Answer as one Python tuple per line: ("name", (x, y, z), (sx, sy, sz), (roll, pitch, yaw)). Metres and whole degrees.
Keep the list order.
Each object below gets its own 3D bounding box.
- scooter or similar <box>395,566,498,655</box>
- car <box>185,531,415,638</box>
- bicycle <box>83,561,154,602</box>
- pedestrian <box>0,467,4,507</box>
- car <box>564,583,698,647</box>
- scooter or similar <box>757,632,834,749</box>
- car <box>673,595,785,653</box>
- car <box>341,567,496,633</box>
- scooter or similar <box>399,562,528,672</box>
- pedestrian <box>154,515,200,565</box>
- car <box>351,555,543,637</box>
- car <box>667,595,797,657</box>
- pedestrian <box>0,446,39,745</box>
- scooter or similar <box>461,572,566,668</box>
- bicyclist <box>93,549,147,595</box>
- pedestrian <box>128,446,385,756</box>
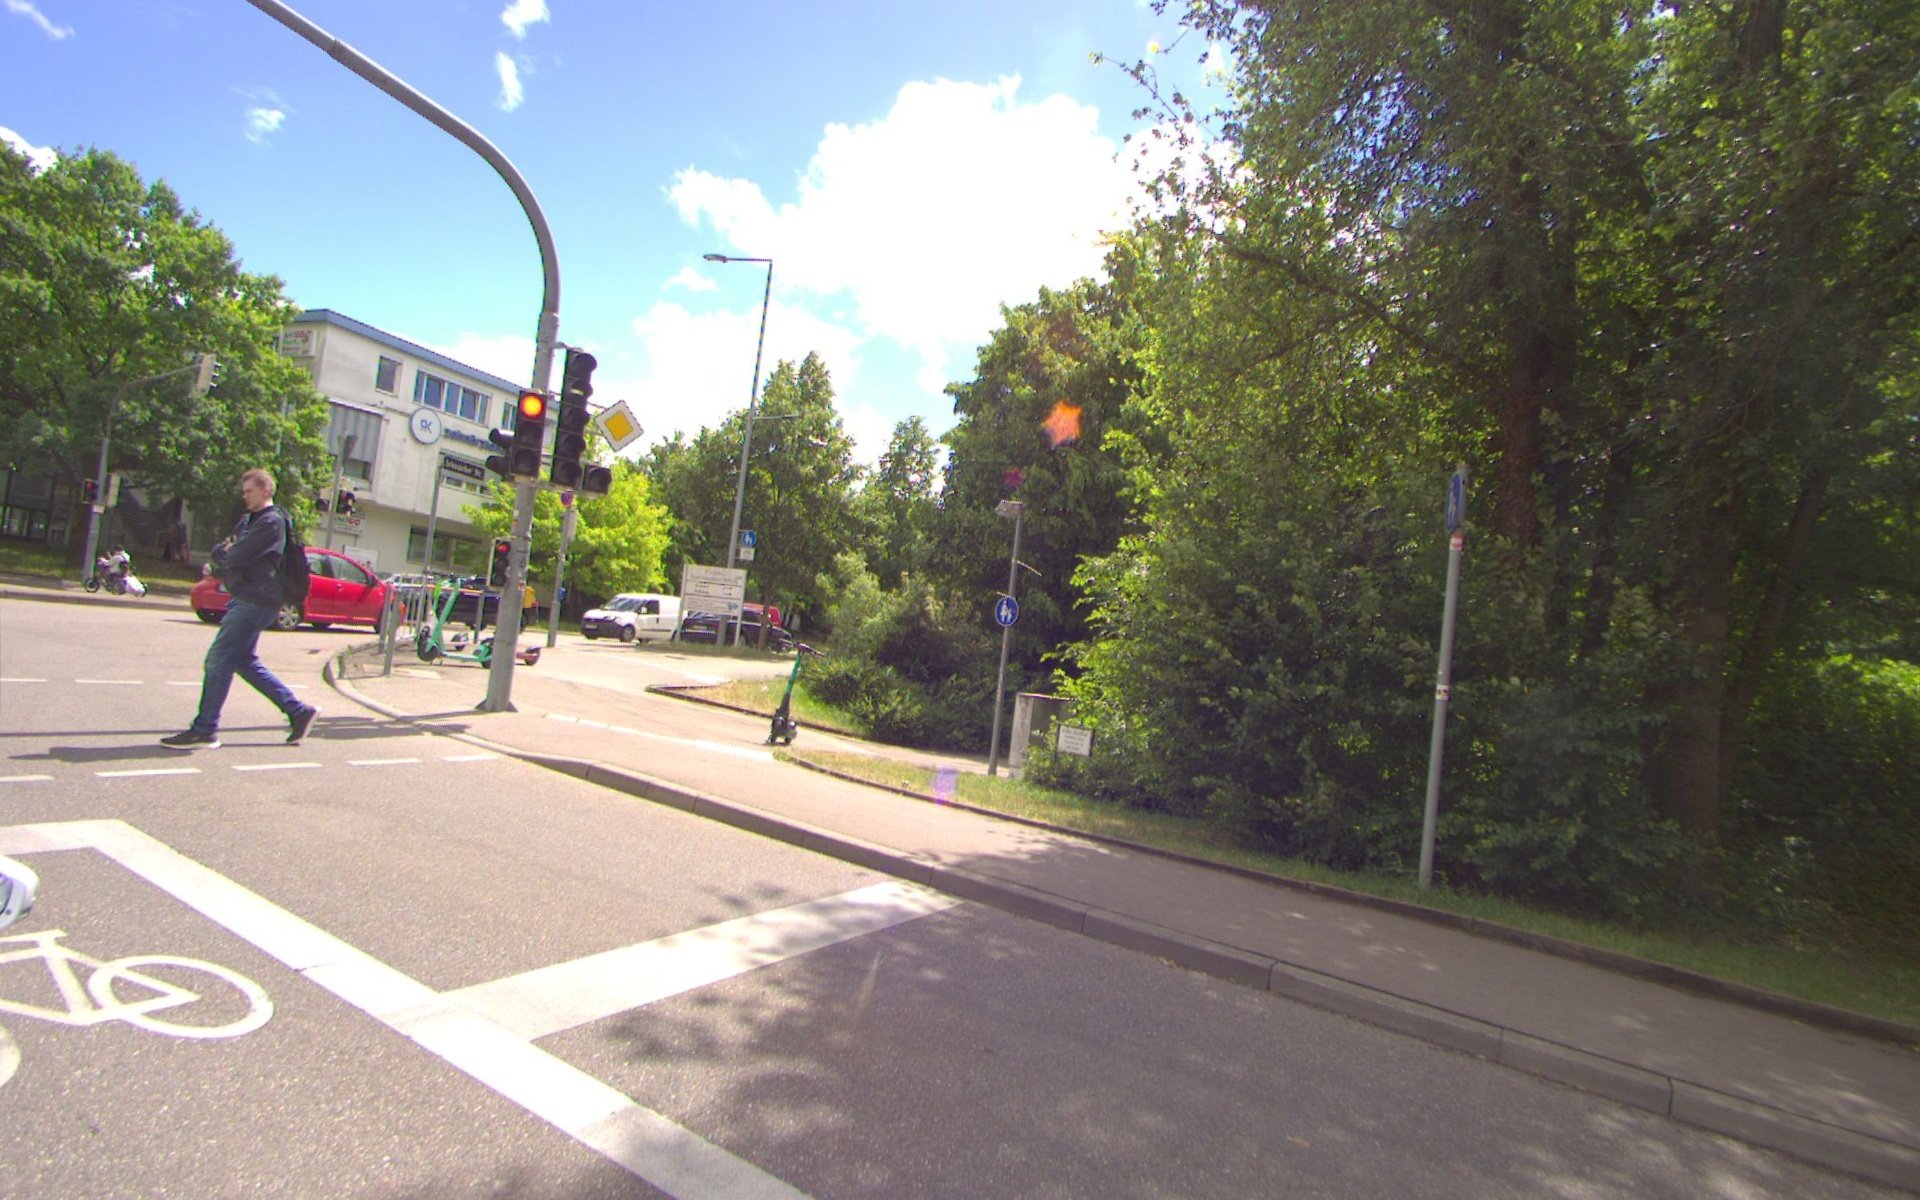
("scooter or similar", (-7.670, 0.183, 15.088), (0.533, 1.168, 1.362), (9, -3, 7))
("car", (-11.608, -0.200, 17.941), (1.517, 1.458, 3.200), (8, -2, 9))
("bicycle", (-21.624, -0.482, 25.842), (1.778, 0.828, 0.793), (6, -2, 31))
("pedestrian", (-7.380, -0.159, 6.971), (0.950, 1.694, 0.860), (7, 0, -44))
("car", (-11.767, 0.599, 36.368), (1.963, 1.737, 4.576), (7, -2, 22))
("scooter or similar", (-2.062, 1.153, 12.695), (0.706, 1.287, 1.243), (10, -7, -8))
("car", (-9.471, 1.043, 41.673), (1.964, 1.885, 4.822), (5, -3, 22))
("car", (-17.233, 0.035, 32.227), (1.963, 1.573, 3.923), (7, -2, 21))
("scooter or similar", (-6.602, 0.246, 13.429), (0.455, 1.292, 1.344), (8, -1, 38))
("pedestrian", (-28.781, -2.214, 36.992), (0.890, 1.662, 0.772), (7, -1, 17))
("car", (-14.687, -0.051, 29.107), (1.964, 1.737, 4.574), (7, -2, 25))
("car", (-7.262, 0.906, 32.562), (1.962, 1.571, 4.526), (7, -2, 17))
("pedestrian", (-6.209, -0.083, 5.798), (0.758, 1.787, 0.936), (7, 0, 20))
("scooter or similar", (-6.656, 0.316, 15.062), (0.547, 1.254, 1.232), (8, -3, 23))
("bicyclist", (-21.536, -0.720, 25.803), (0.625, 1.034, 0.793), (7, -2, 31))
("pedestrian", (-4.905, 0.022, 7.059), (0.881, 1.964, 0.969), (7, -1, 27))
